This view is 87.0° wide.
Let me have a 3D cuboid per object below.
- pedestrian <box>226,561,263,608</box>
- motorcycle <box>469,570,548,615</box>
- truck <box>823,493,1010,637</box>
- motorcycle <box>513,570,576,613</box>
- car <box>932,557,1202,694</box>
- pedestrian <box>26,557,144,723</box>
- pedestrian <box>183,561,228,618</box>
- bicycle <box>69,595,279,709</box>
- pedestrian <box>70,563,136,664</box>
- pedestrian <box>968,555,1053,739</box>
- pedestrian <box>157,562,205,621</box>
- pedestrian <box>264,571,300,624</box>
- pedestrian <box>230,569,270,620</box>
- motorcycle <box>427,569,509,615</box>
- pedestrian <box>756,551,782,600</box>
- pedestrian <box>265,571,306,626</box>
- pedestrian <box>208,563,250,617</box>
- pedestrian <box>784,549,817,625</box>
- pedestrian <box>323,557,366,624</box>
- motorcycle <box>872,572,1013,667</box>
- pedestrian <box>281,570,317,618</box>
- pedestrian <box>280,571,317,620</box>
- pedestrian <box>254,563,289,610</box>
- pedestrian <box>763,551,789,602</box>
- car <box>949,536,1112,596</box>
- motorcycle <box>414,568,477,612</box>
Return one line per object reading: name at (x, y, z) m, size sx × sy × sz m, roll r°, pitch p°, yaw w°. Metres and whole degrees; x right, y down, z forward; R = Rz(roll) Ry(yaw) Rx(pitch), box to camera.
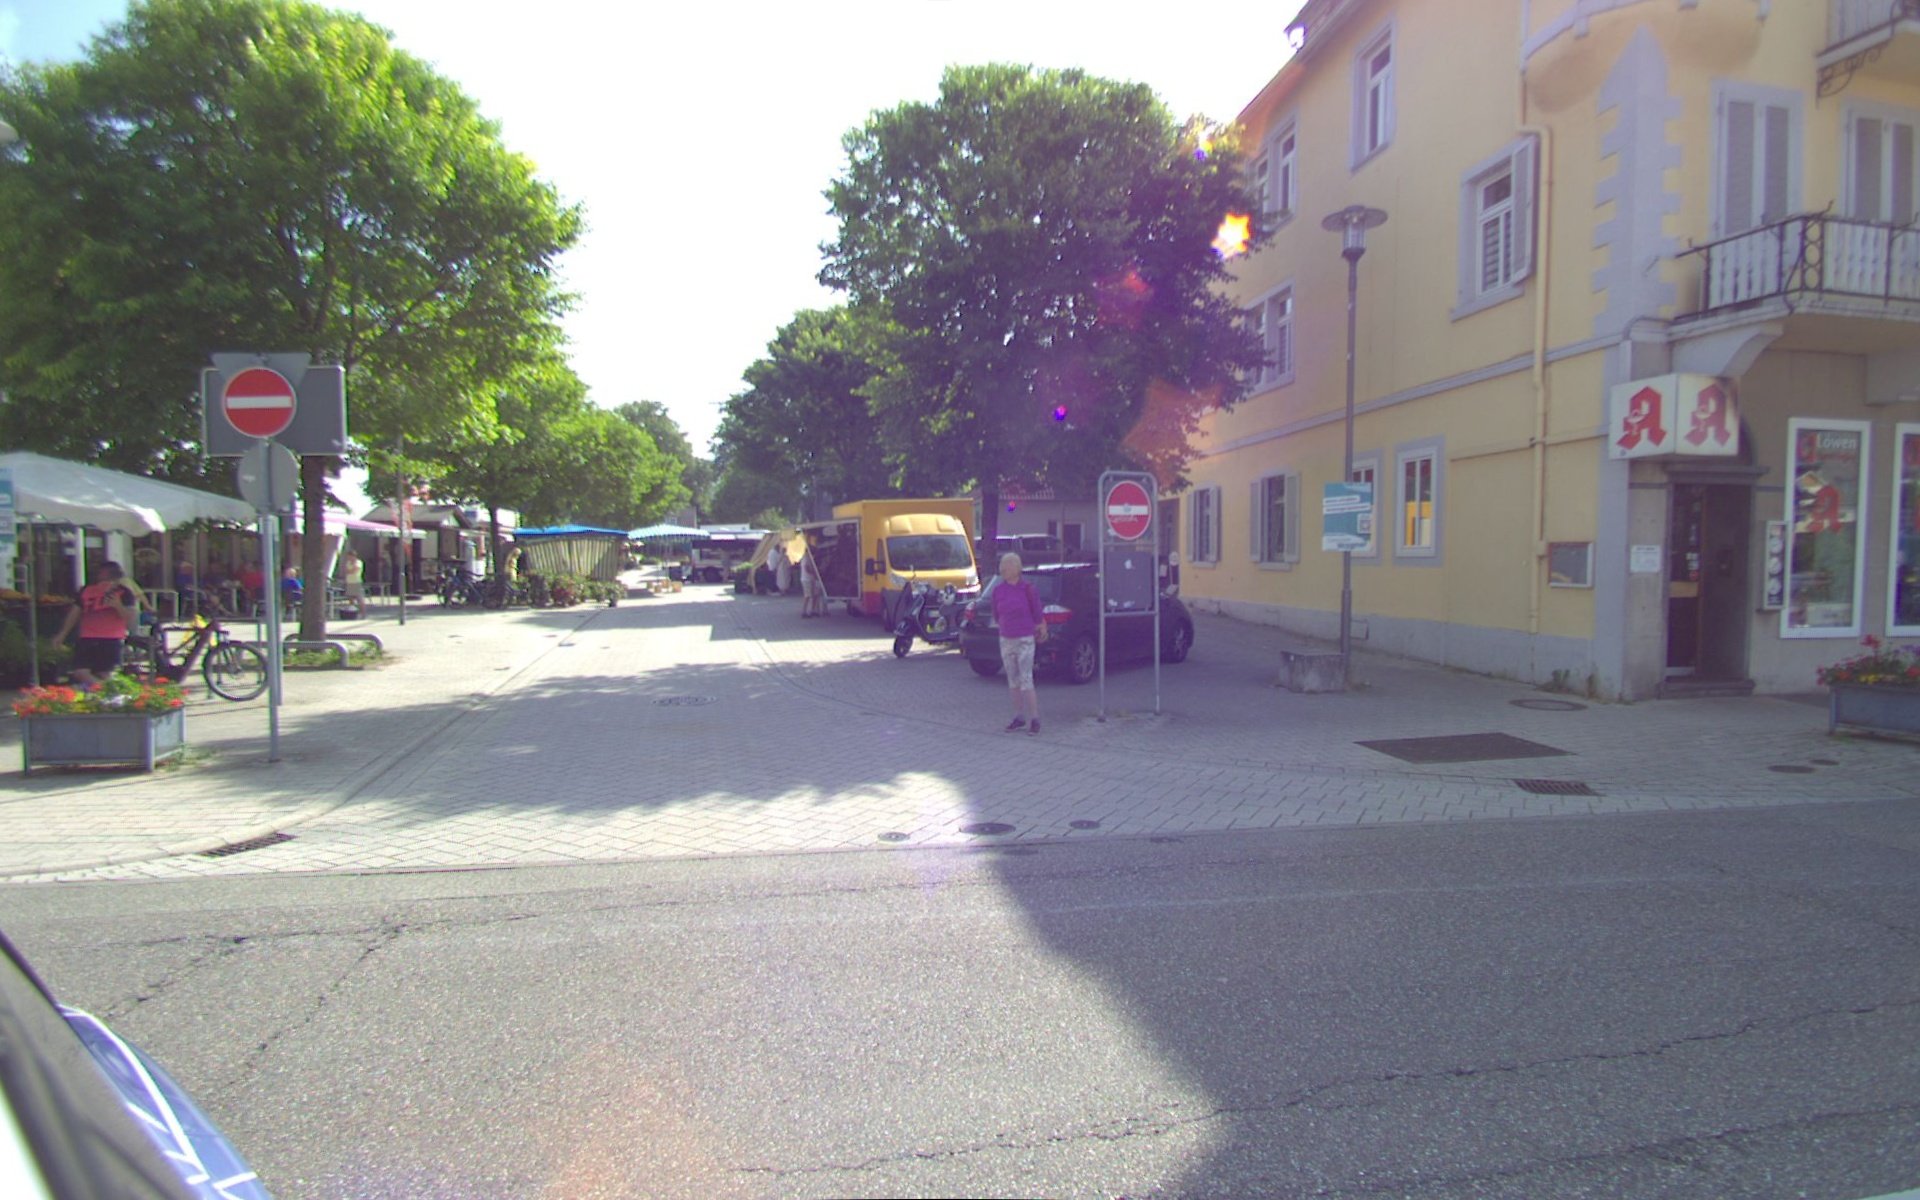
pedestrian at (-18.998, -0.423, 26.875) m, size 0.563 × 1.210 × 0.652 m, roll 2°, pitch 2°, yaw -11°
motorcycle at (-13.058, -0.224, 29.284) m, size 1.978 × 1.204 × 0.643 m, roll 2°, pitch 1°, yaw 2°
truck at (-1.404, -0.910, 24.168) m, size 2.961 × 2.778 × 8.885 m, roll -1°, pitch 3°, yaw -12°
motorcycle at (-12.465, -0.258, 30.334) m, size 1.998 × 1.204 × 0.637 m, roll 3°, pitch 1°, yaw 31°
car at (1.615, 0.221, 14.108) m, size 1.922 × 1.554 × 3.907 m, roll 2°, pitch 4°, yaw 39°
pedestrian at (-9.196, 0.398, 10.670) m, size 0.869 × 1.670 × 0.574 m, roll 1°, pitch 2°, yaw -35°
pedestrian at (-18.474, -0.264, 24.799) m, size 0.617 × 1.340 × 0.701 m, roll 2°, pitch 2°, yaw -8°
bicycle at (-9.213, 0.579, 11.946) m, size 1.830 × 1.244 × 0.619 m, roll -1°, pitch 1°, yaw -20°
pedestrian at (-13.310, 0.201, 15.731) m, size 0.611 × 1.529 × 0.635 m, roll -1°, pitch 1°, yaw -25°
pedestrian at (0.504, 0.434, 9.892) m, size 0.674 × 1.727 × 0.614 m, roll 0°, pitch 2°, yaw 18°
pedestrian at (-18.376, -0.207, 23.878) m, size 0.617 × 1.340 × 0.701 m, roll 2°, pitch 2°, yaw -8°
pedestrian at (-16.087, -0.066, 24.030) m, size 0.562 × 1.210 × 0.653 m, roll 1°, pitch 2°, yaw -22°
pedestrian at (-17.145, -0.137, 24.444) m, size 0.563 × 1.210 × 0.652 m, roll 2°, pitch 2°, yaw -11°
motorcycle at (-13.872, -0.225, 28.557) m, size 1.978 × 1.204 × 0.643 m, roll 2°, pitch 2°, yaw 2°
pedestrian at (-6.655, -0.853, 35.198) m, size 0.670 × 1.694 × 0.585 m, roll -3°, pitch 2°, yaw -28°
pedestrian at (-15.512, -0.039, 23.289) m, size 0.687 × 1.210 × 0.574 m, roll 1°, pitch 2°, yaw -25°
pedestrian at (-18.656, -0.270, 25.840) m, size 0.617 × 1.340 × 0.701 m, roll 2°, pitch 2°, yaw -8°
pedestrian at (-3.915, -0.326, 24.803) m, size 0.670 × 1.799 × 0.729 m, roll -3°, pitch 3°, yaw -15°
pedestrian at (-14.767, -0.234, 24.283) m, size 0.688 × 1.565 × 0.573 m, roll 2°, pitch 2°, yaw -5°
motorcycle at (-0.292, 0.280, 16.174) m, size 2.053 × 1.371 × 0.890 m, roll -3°, pitch 2°, yaw -13°
pedestrian at (-17.192, -0.158, 26.313) m, size 0.563 × 1.210 × 0.652 m, roll 2°, pitch 2°, yaw -11°
pedestrian at (-16.797, -0.120, 25.694) m, size 0.563 × 1.210 × 0.652 m, roll 2°, pitch 2°, yaw -11°
pedestrian at (-18.424, -0.366, 27.090) m, size 0.563 × 1.210 × 0.652 m, roll 2°, pitch 2°, yaw -11°
pedestrian at (-6.310, -0.807, 34.647) m, size 0.670 × 1.694 × 0.585 m, roll -3°, pitch 3°, yaw -28°
car at (2.310, -1.114, 33.514) m, size 4.987 × 1.905 × 2.006 m, roll 0°, pitch 1°, yaw -16°
motorcycle at (-14.933, -0.306, 29.396) m, size 1.507 × 1.204 × 0.645 m, roll 2°, pitch 1°, yaw -12°
